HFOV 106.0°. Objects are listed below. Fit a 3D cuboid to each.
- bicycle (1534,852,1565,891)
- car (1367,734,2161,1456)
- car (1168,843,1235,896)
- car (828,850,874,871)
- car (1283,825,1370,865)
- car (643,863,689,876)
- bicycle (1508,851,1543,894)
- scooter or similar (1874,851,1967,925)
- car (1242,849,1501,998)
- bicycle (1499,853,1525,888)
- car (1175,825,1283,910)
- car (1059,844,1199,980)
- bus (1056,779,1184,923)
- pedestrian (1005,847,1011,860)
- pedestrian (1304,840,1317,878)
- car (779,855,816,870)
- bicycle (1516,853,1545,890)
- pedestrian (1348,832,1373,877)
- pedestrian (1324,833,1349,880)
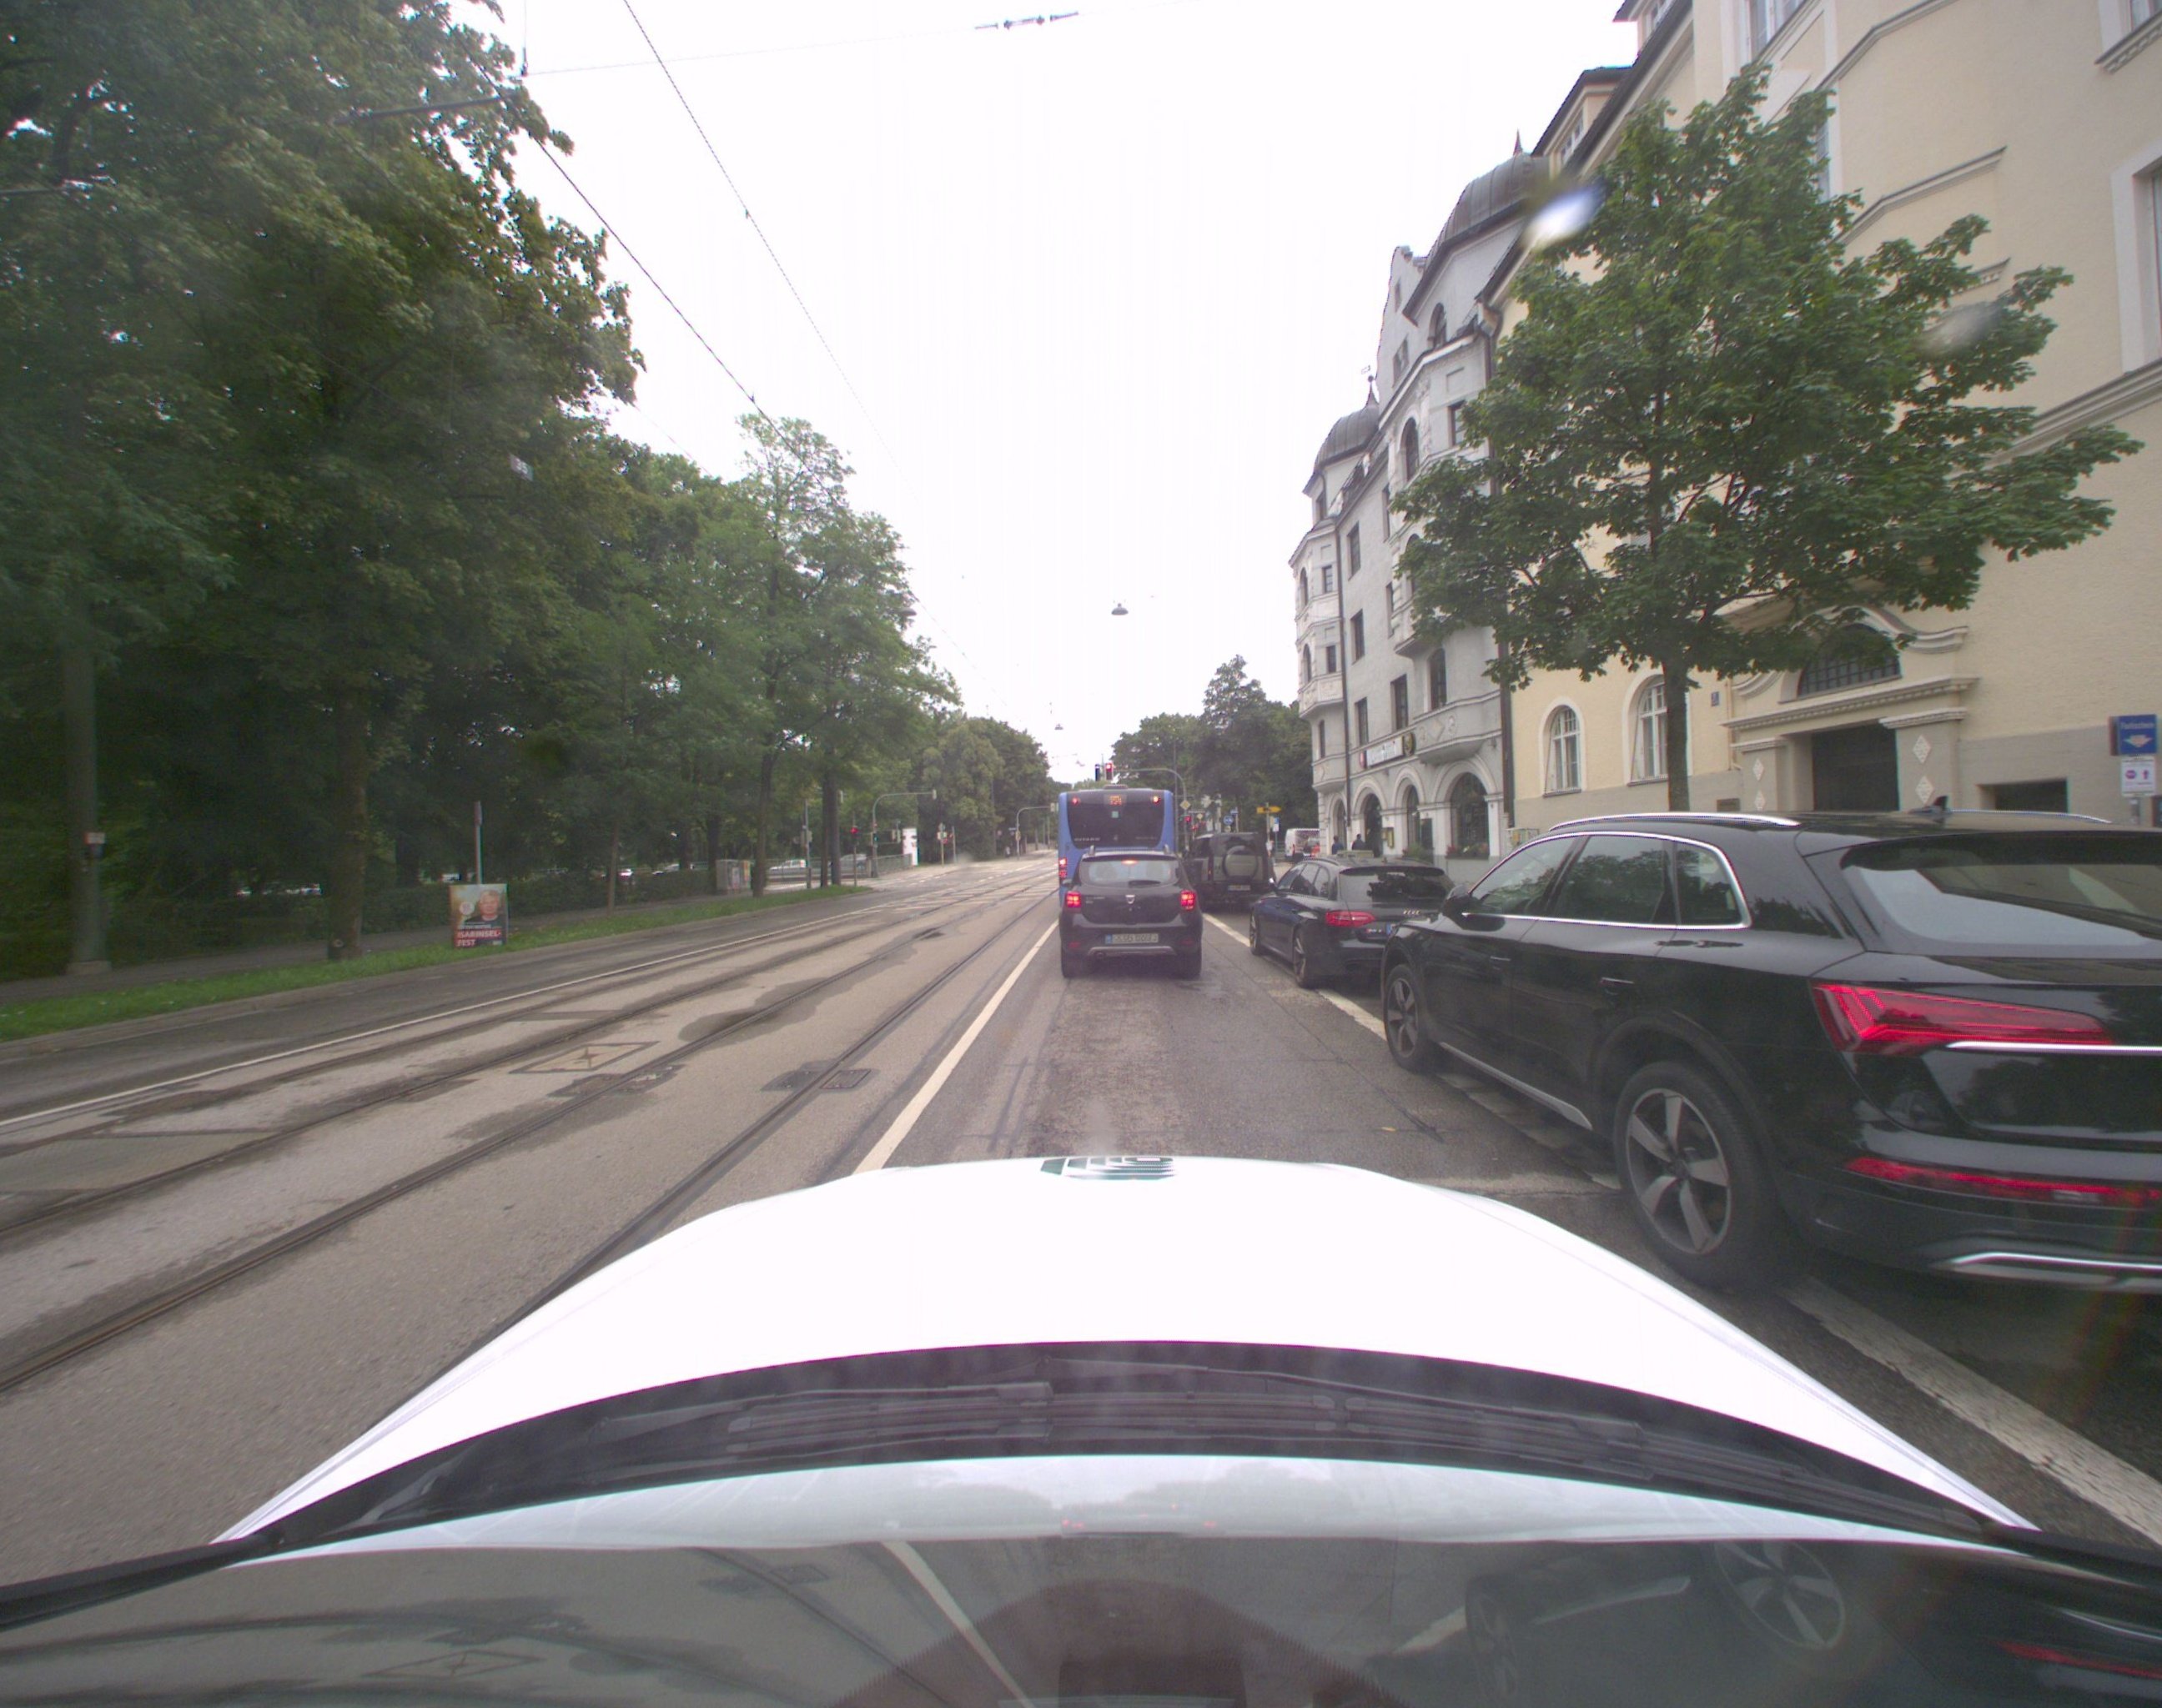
[{"bbox_3d":[11.433,0.413,19.893,0.304,0.930,0.887,0,0,4],"label":"bicycle"},{"bbox_3d":[3.029,0.548,4.104,1.767,1.658,4.490,-1,0,3],"label":"car"},{"bbox_3d":[3.855,0.473,26.632,1.707,1.591,4.329,0,0,2],"label":"car"},{"bbox_3d":[-22.152,0.615,78.423,4.015,1.887,1.488,0,0,-5],"label":"car"},{"bbox_3d":[16.653,-0.617,55.477,5.280,2.612,2.230,0,0,-1],"label":"car"},{"bbox_3d":[-39.482,1.517,77.570,3.720,1.185,1.249,0,0,-3],"label":"car"},{"bbox_3d":[11.057,0.445,20.274,0.241,1.039,1.224,0,0,2],"label":"bicycle"},{"bbox_3d":[11.075,0.435,10.758,0.658,0.946,0.547,0,0,3],"label":"scooter or similar"},{"bbox_3d":[3.267,0.674,10.184,1.709,1.426,4.604,0,0,2],"label":"car"},{"bbox_3d":[11.535,0.431,21.789,0.258,0.930,0.886,0,0,3],"label":"bicycle"},{"bbox_3d":[3.631,0.303,20.877,1.908,1.906,4.807,0,0,0],"label":"car"},{"bbox_3d":[0.601,0.667,11.102,1.595,1.556,3.526,0,0,1],"label":"car"},{"bbox_3d":[0.848,-0.061,20.601,2.670,2.997,6.960,0,0,0],"label":"bus"},{"bbox_3d":[-8.445,-0.040,94.225,0.529,1.501,0.589,0,0,6],"label":"pedestrian"},{"bbox_3d":[12.162,0.266,43.144,0.667,2.013,0.719,0,0,16],"label":"pedestrian"},{"bbox_3d":[-27.126,0.785,77.948,3.103,1.452,1.249,0,0,-3],"label":"car"},{"bbox_3d":[11.502,0.444,20.852,0.289,0.930,0.886,0,0,3],"label":"bicycle"},{"bbox_3d":[10.920,0.032,31.867,0.702,1.732,0.843,0,0,2],"label":"pedestrian"},{"bbox_3d":[10.022,0.085,31.971,0.702,1.816,0.870,0,0,2],"label":"pedestrian"}]
